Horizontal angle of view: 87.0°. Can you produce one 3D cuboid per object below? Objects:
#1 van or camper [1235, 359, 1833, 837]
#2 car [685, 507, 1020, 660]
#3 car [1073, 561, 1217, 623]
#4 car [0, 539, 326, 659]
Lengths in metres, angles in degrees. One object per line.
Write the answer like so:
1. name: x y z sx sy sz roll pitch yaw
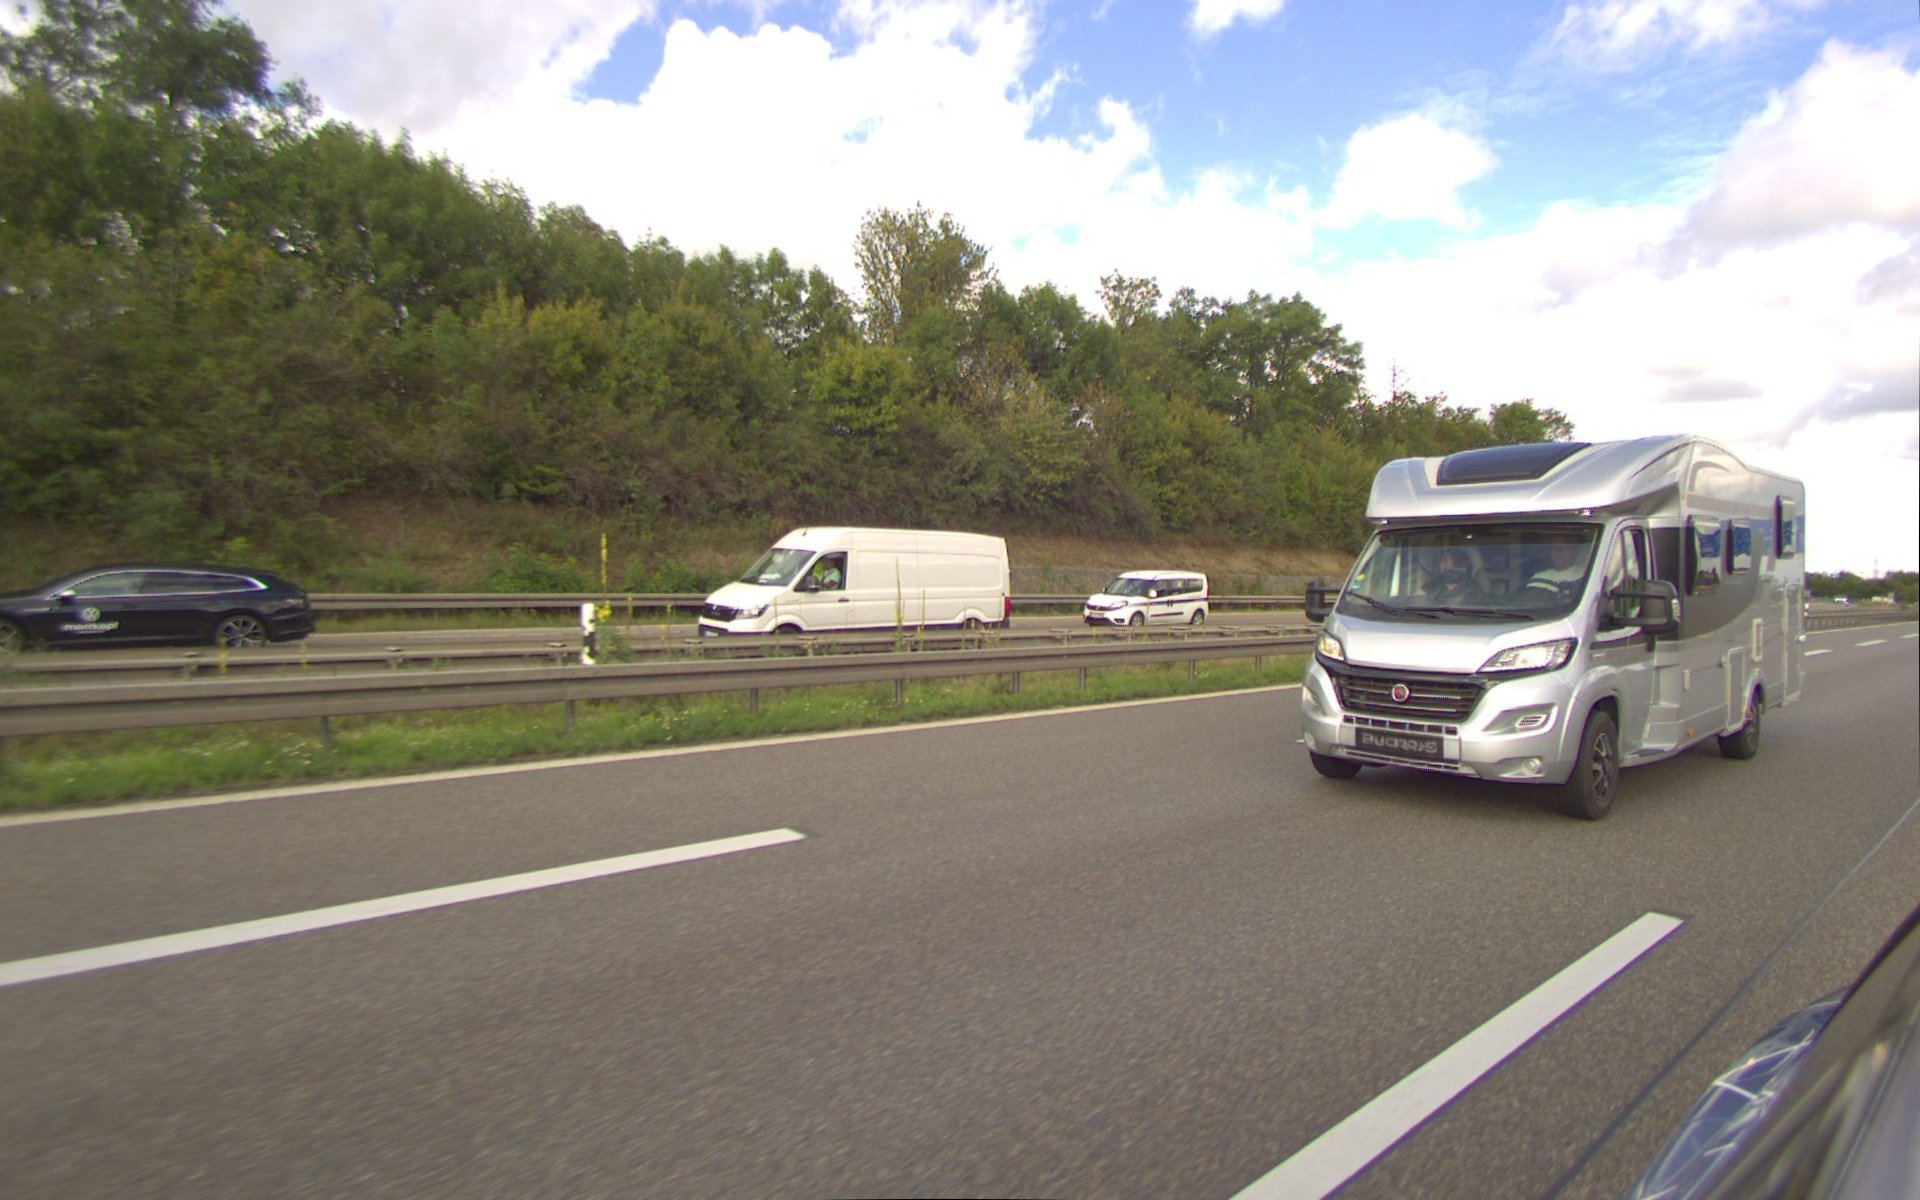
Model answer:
1. van or camper: 5.720 -0.046 9.269 7.528 2.756 2.473 0 0 -41
2. car: -1.899 -0.328 20.070 6.625 2.586 2.074 0 2 -41
3. car: 5.779 -0.251 31.286 4.681 1.774 1.846 0 1 -41
4. car: -12.677 -0.062 15.600 4.682 1.622 1.847 0 3 -42
